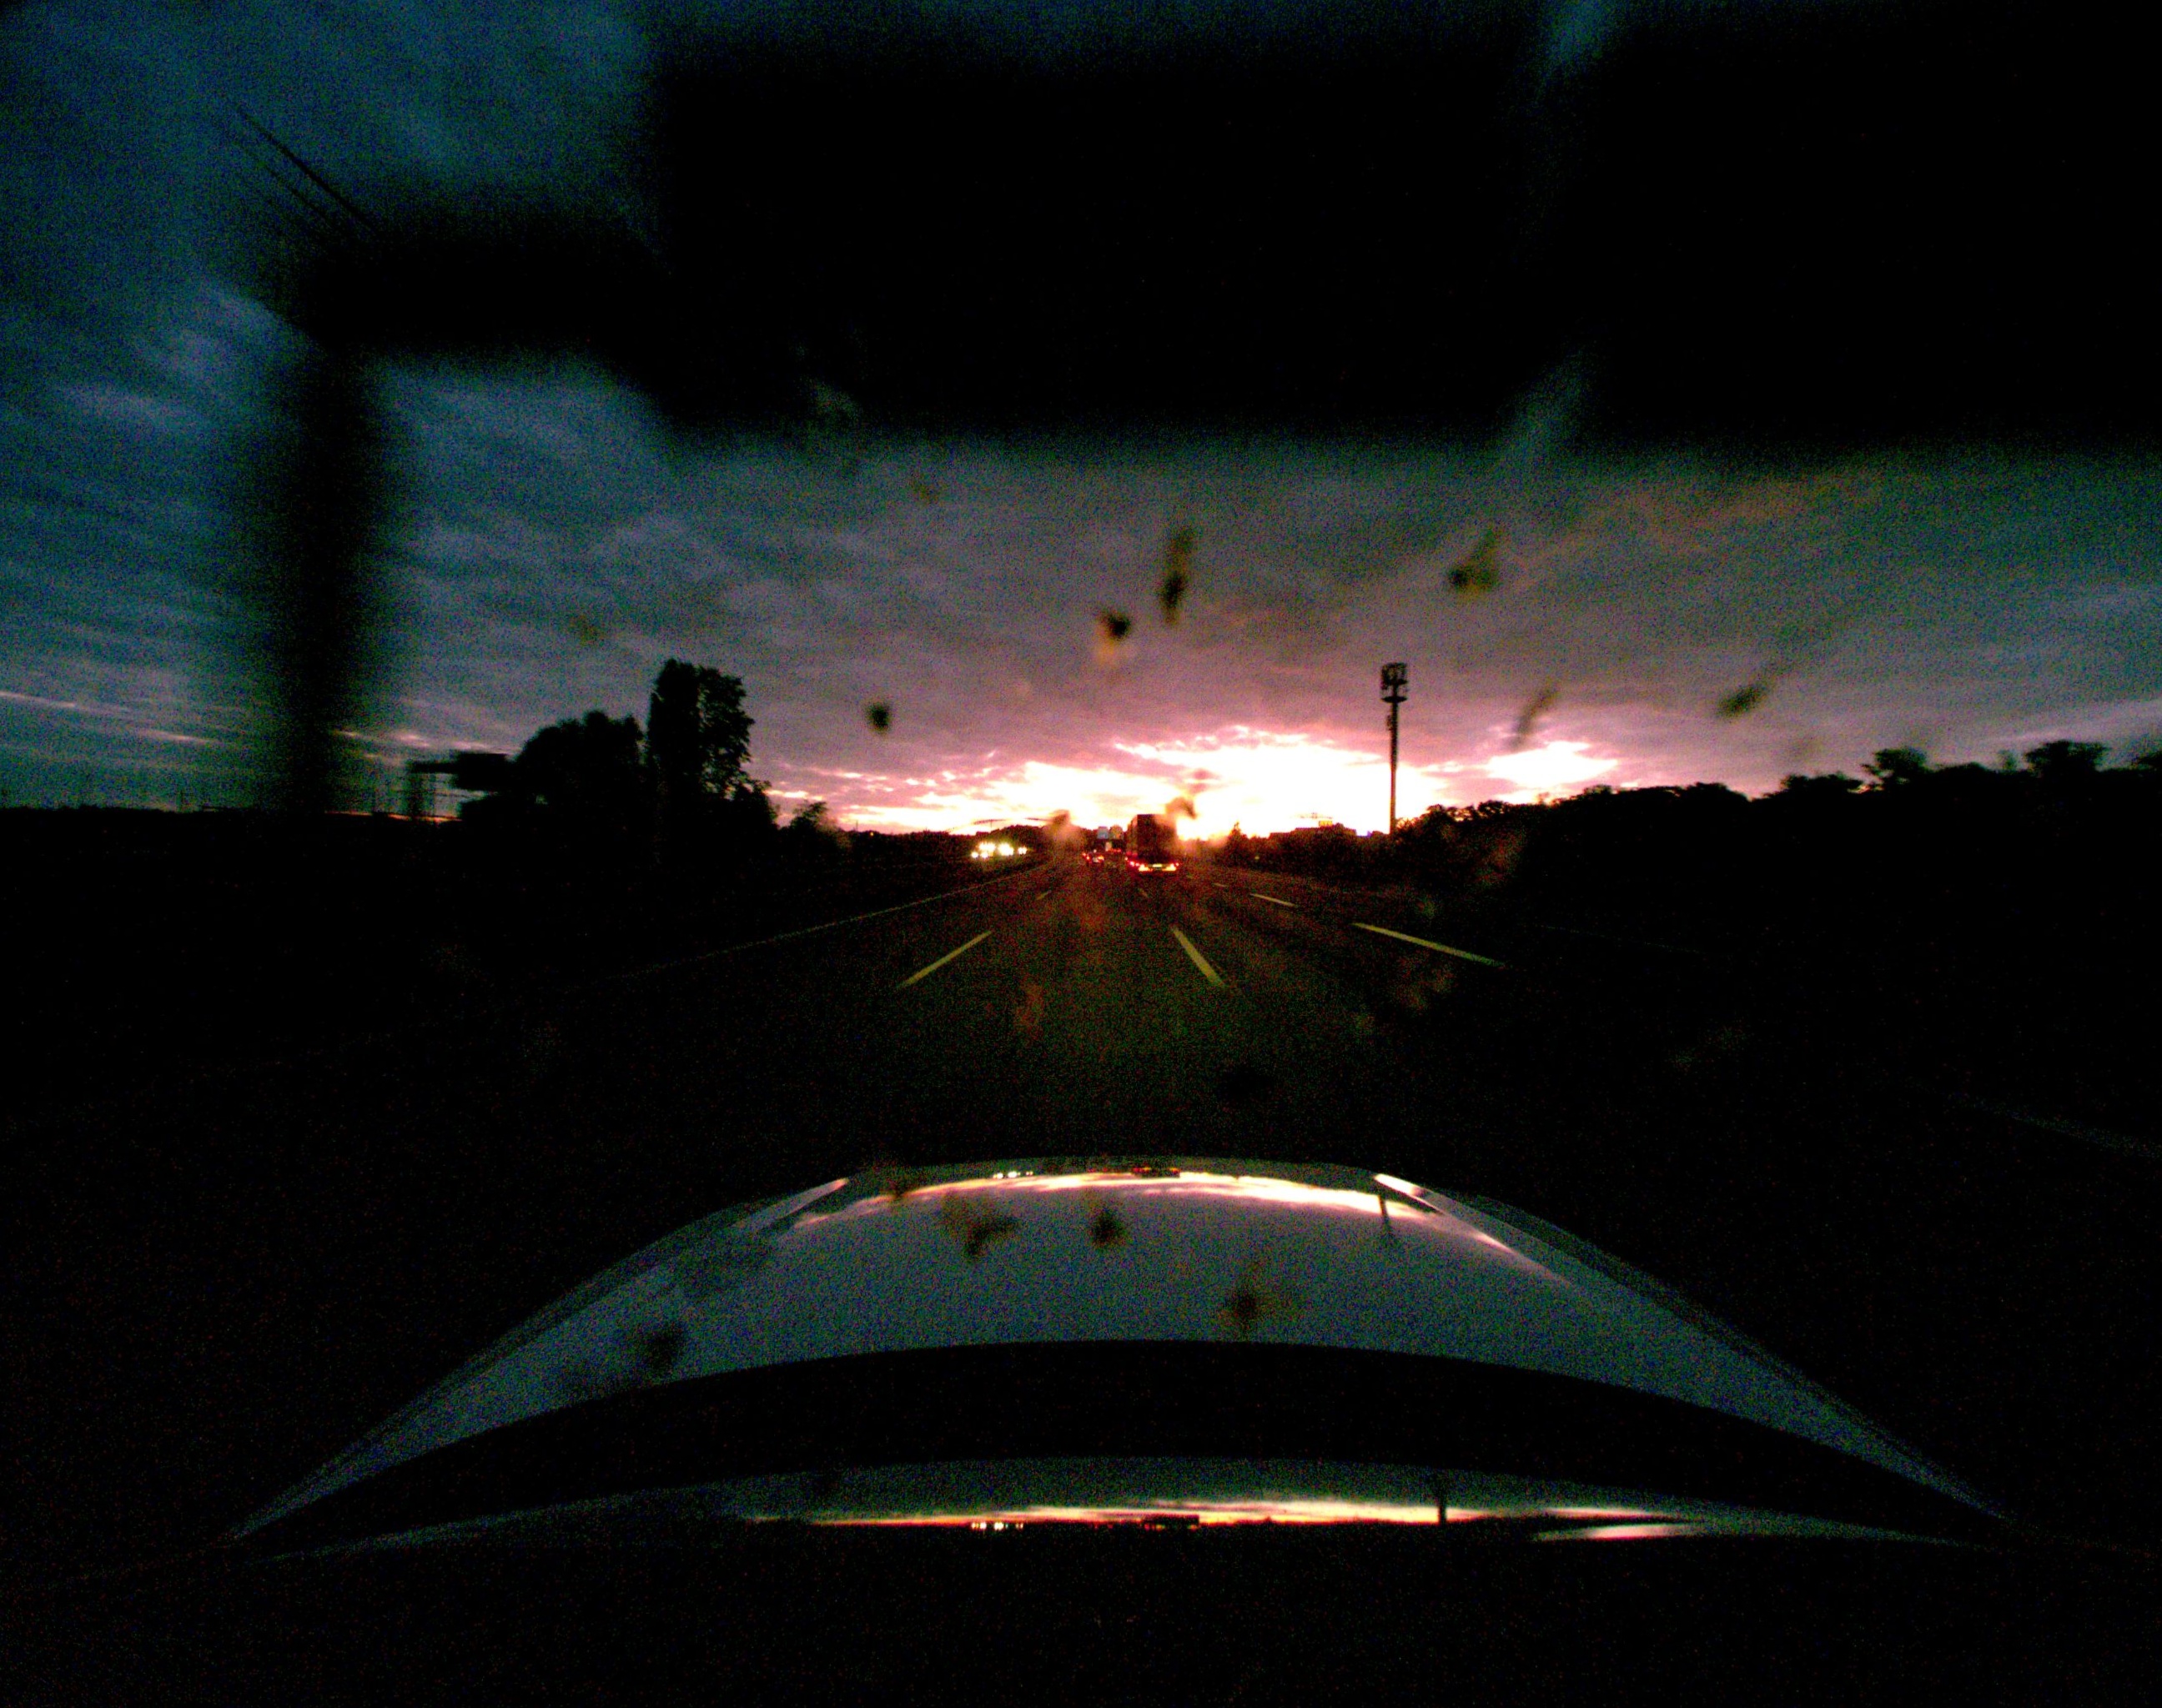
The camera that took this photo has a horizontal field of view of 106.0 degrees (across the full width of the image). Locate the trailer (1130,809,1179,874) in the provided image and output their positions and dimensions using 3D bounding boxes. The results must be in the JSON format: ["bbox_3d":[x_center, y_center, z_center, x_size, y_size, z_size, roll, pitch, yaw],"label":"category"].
[{"bbox_3d":[4.866,-0.823,55.389,2.712,4.071,8.832,0,0,1],"label":"trailer"}]

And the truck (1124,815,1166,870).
[{"bbox_3d":[4.993,-0.904,65.049,2.681,4.071,10.522,0,0,1],"label":"truck"}]

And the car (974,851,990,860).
[{"bbox_3d":[-15.759,0.235,129.492,1.987,1.358,4.864,0,1,0],"label":"car"}]

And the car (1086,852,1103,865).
[{"bbox_3d":[1.443,0.534,88.130,1.684,1.401,3.407,0,-1,-1],"label":"car"}]

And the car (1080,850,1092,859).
[{"bbox_3d":[0.815,0.155,138.937,1.681,1.401,3.413,-1,-1,5],"label":"car"}]

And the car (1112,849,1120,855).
[{"bbox_3d":[9.963,-0.539,231.681,1.986,1.717,4.000,0,-1,1],"label":"car"}]
